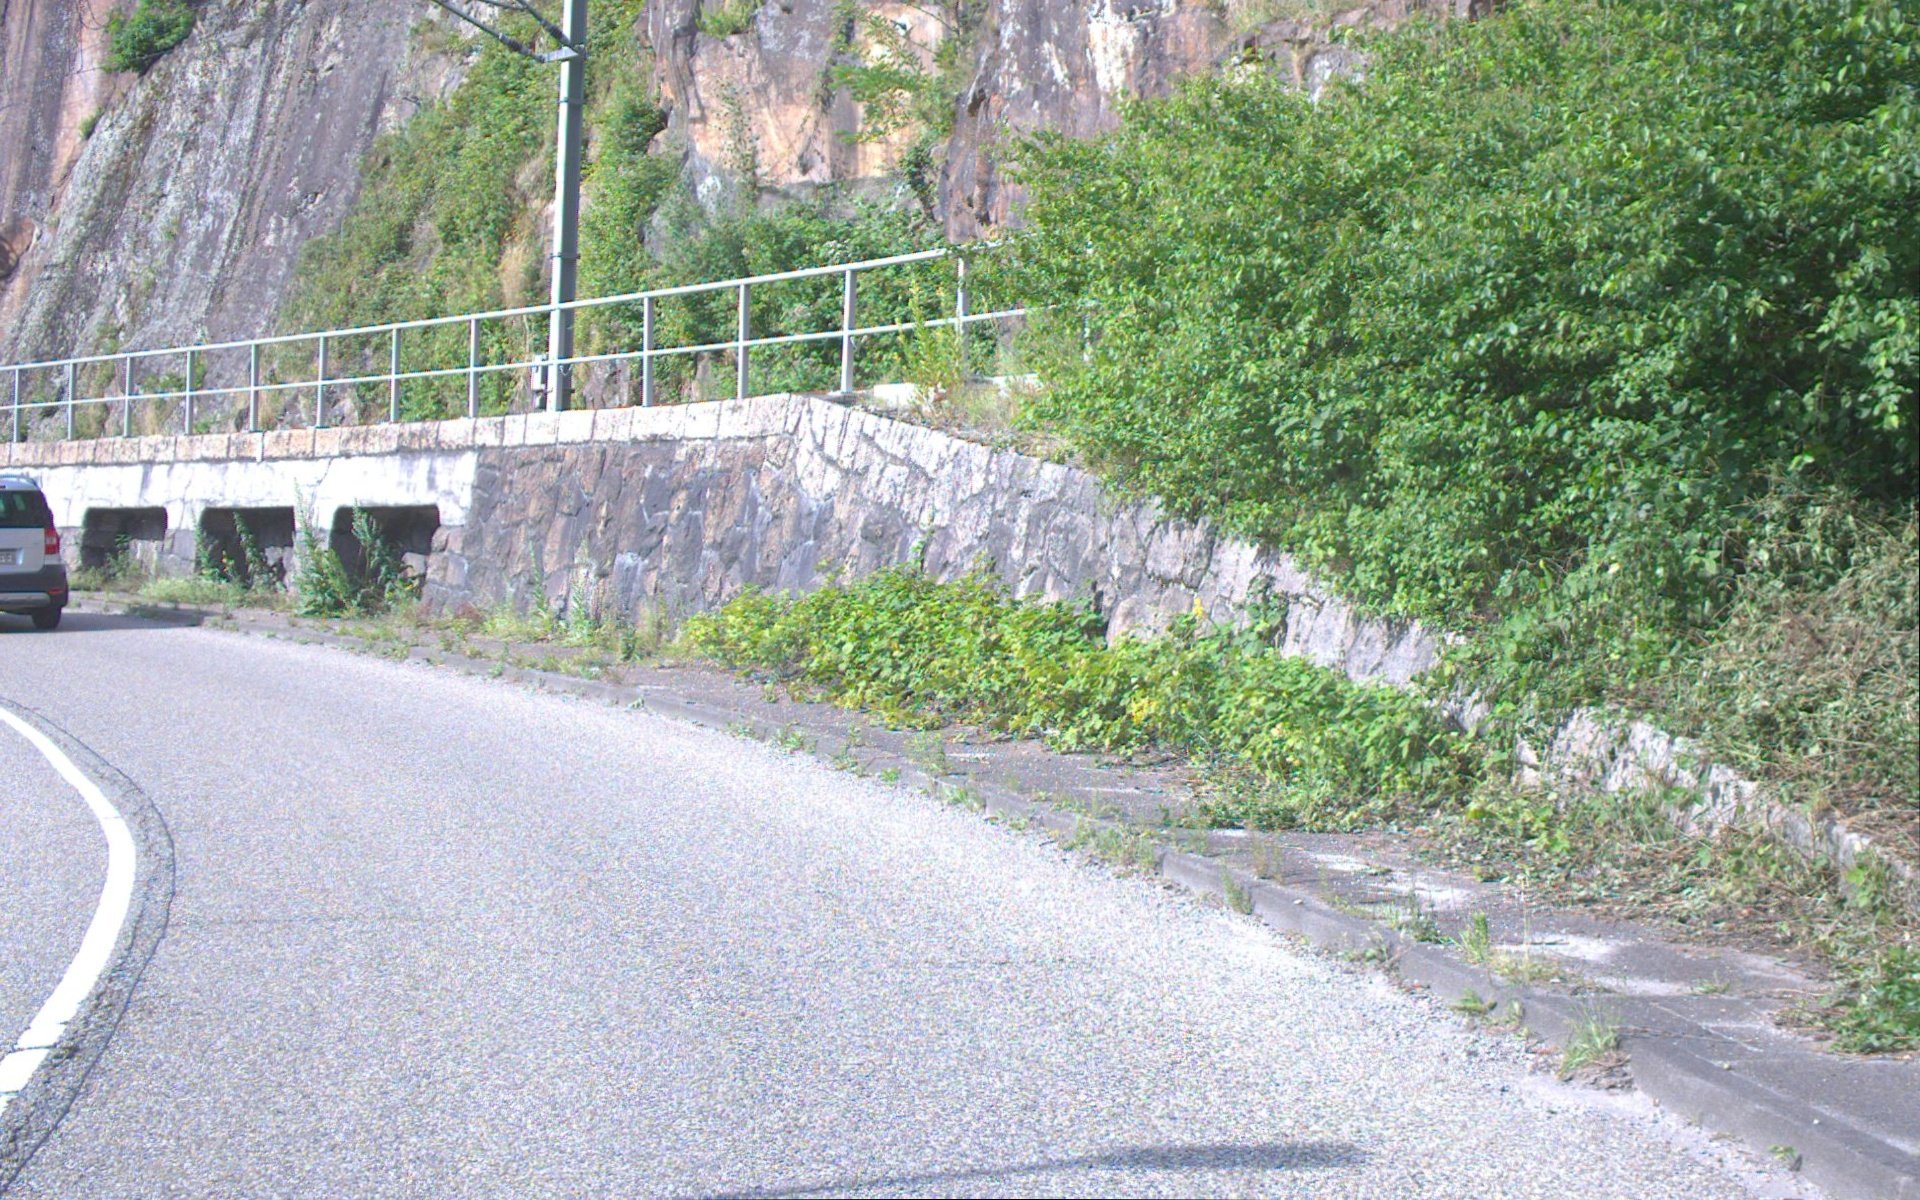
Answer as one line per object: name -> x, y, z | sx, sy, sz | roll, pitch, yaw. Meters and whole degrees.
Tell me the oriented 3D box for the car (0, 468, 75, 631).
car -> -11.120, -0.594, 37.545 | 1.872, 1.650, 4.001 | -1, 4, -29
